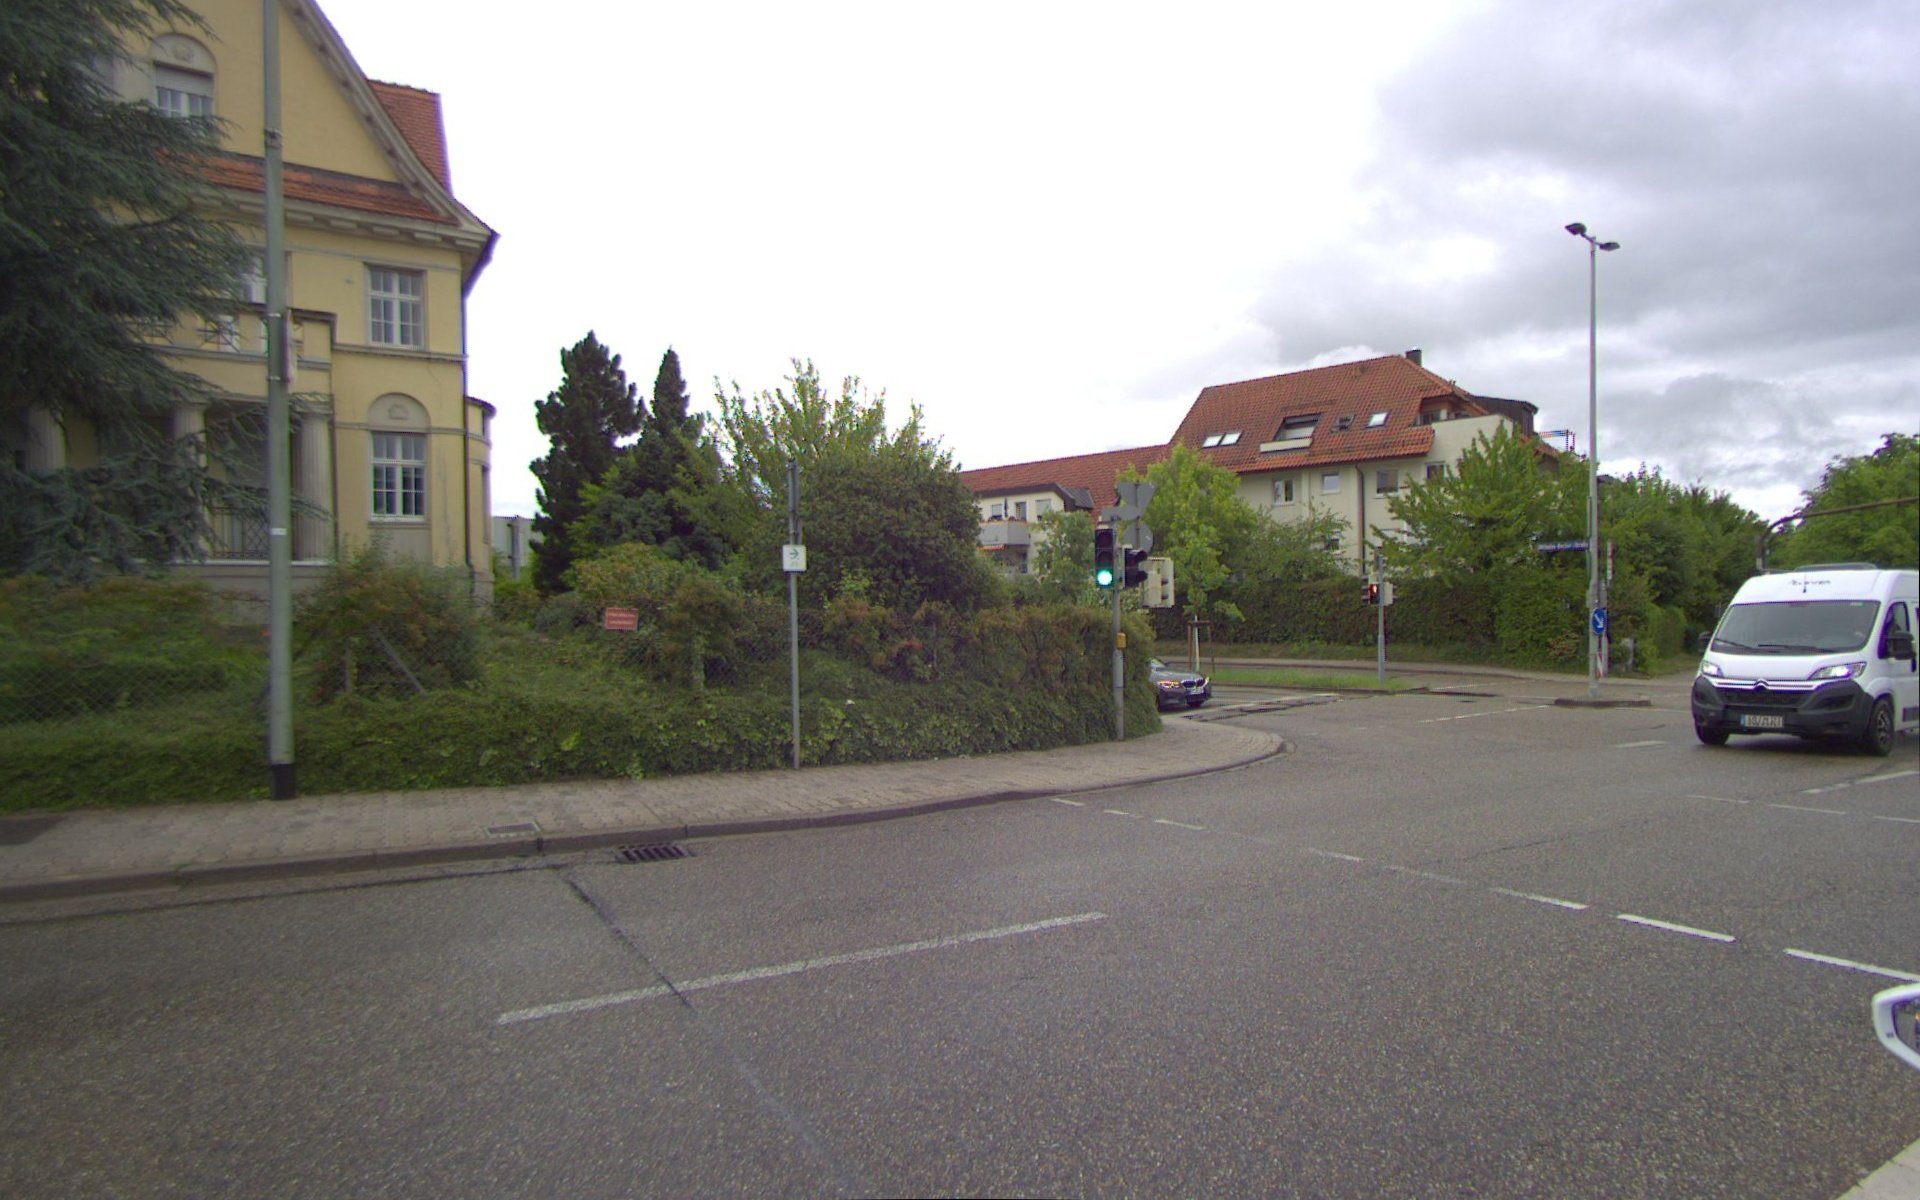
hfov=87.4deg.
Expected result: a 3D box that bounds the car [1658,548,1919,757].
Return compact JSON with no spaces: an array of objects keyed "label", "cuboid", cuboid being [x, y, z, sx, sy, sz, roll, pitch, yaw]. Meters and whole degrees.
[{"label":"car","cuboid":[12.973,0.762,14.808,5.709,2.561,2.286,2,-3,-32]}]

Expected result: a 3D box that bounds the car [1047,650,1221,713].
[{"label":"car","cuboid":[4.312,2.040,25.586,1.759,1.411,4.391,0,-3,-36]}]
